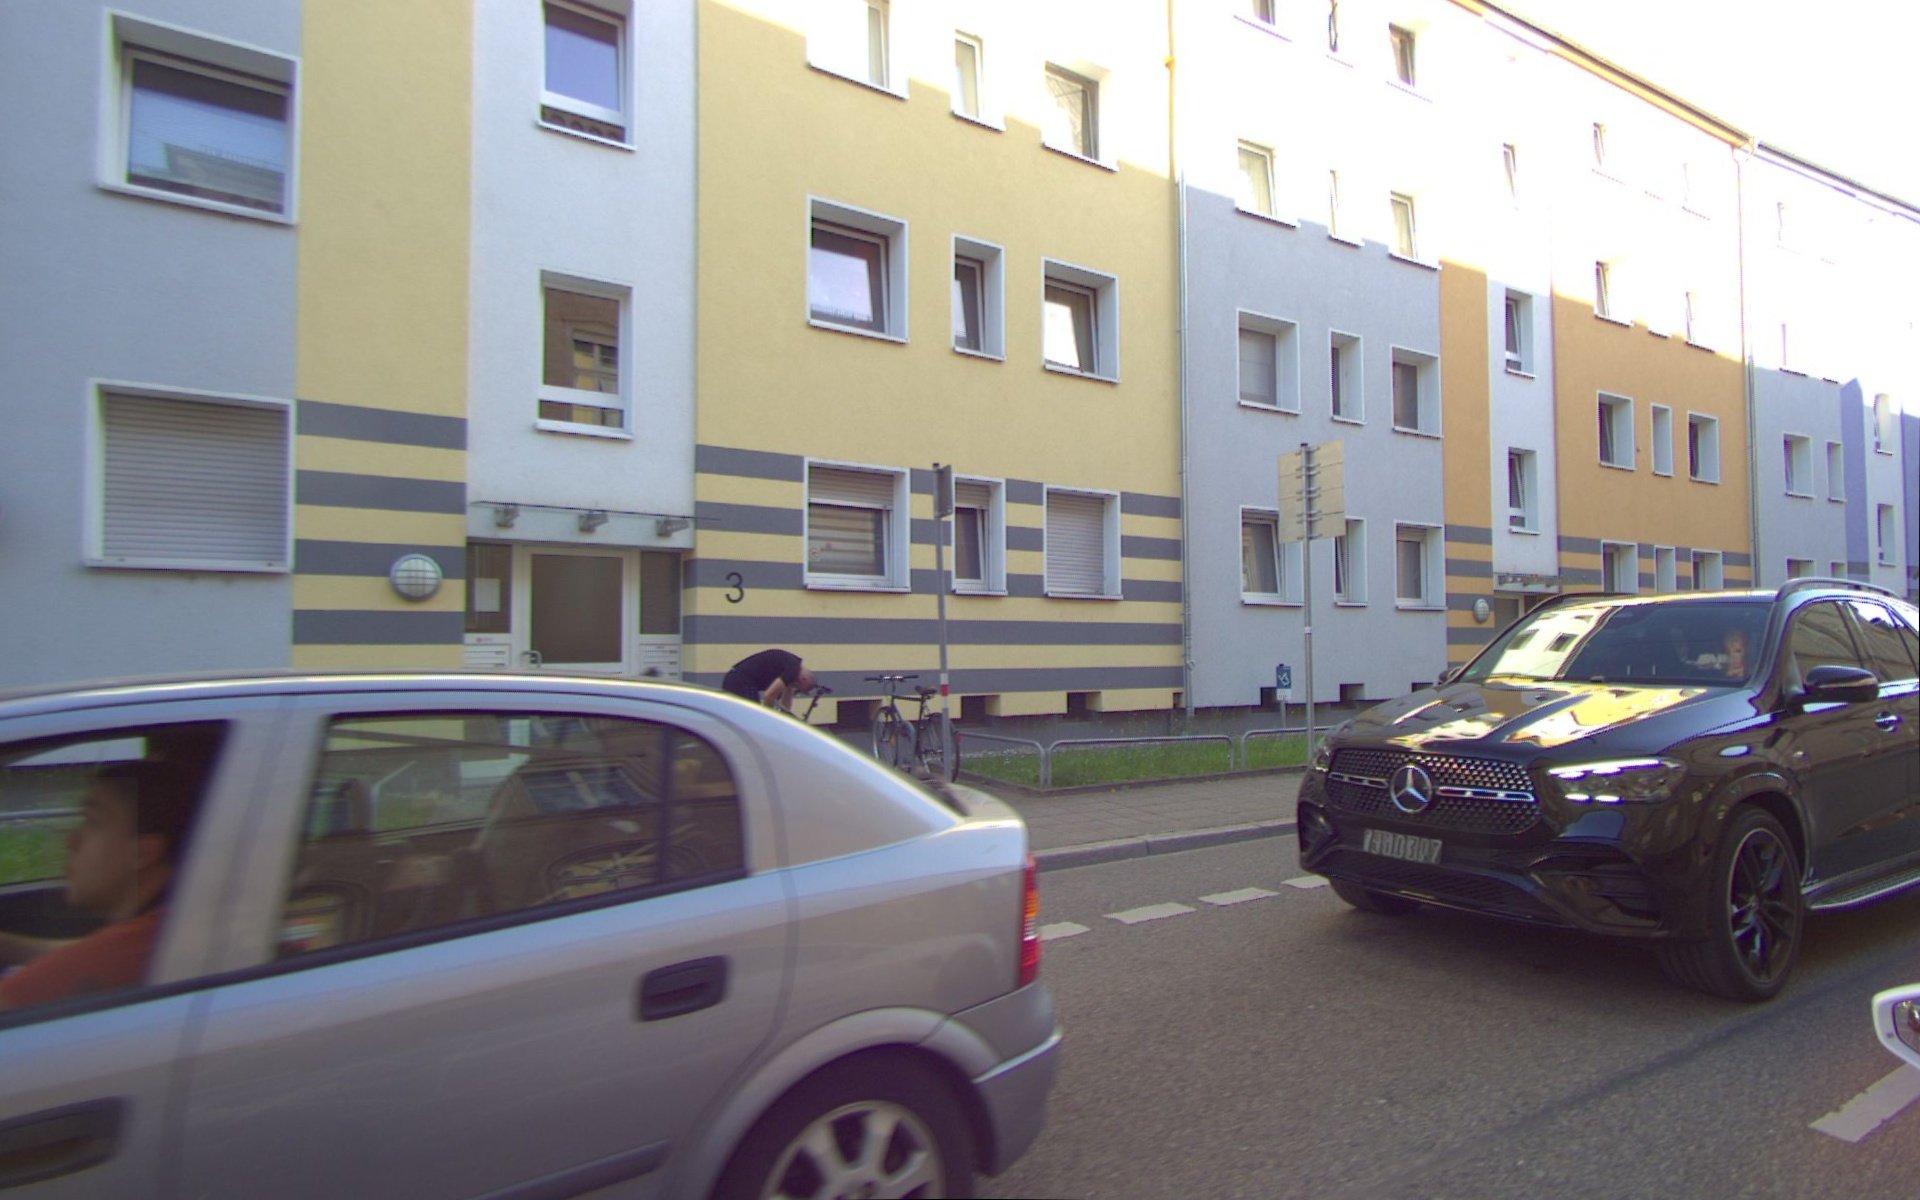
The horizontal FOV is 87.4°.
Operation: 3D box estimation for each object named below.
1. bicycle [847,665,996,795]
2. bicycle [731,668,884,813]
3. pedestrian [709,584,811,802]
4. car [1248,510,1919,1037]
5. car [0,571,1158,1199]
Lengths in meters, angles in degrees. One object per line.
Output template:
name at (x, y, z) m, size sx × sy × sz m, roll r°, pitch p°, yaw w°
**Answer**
bicycle at (-0.422, 1.255, 10.146) m, size 0.645 × 1.160 × 1.739 m, roll 2°, pitch -3°, yaw -36°
bicycle at (-1.428, 1.214, 9.159) m, size 0.645 × 1.160 × 1.739 m, roll 2°, pitch -3°, yaw -36°
pedestrian at (-1.785, 0.820, 9.089) m, size 0.853 × 1.879 × 0.721 m, roll 0°, pitch -2°, yaw -8°
car at (4.157, 0.732, 5.682) m, size 5.036 × 1.858 × 1.891 m, roll 2°, pitch -5°, yaw -31°
car at (-1.740, 0.778, 1.978) m, size 4.090 × 1.505 × 1.733 m, roll 1°, pitch -5°, yaw -32°
